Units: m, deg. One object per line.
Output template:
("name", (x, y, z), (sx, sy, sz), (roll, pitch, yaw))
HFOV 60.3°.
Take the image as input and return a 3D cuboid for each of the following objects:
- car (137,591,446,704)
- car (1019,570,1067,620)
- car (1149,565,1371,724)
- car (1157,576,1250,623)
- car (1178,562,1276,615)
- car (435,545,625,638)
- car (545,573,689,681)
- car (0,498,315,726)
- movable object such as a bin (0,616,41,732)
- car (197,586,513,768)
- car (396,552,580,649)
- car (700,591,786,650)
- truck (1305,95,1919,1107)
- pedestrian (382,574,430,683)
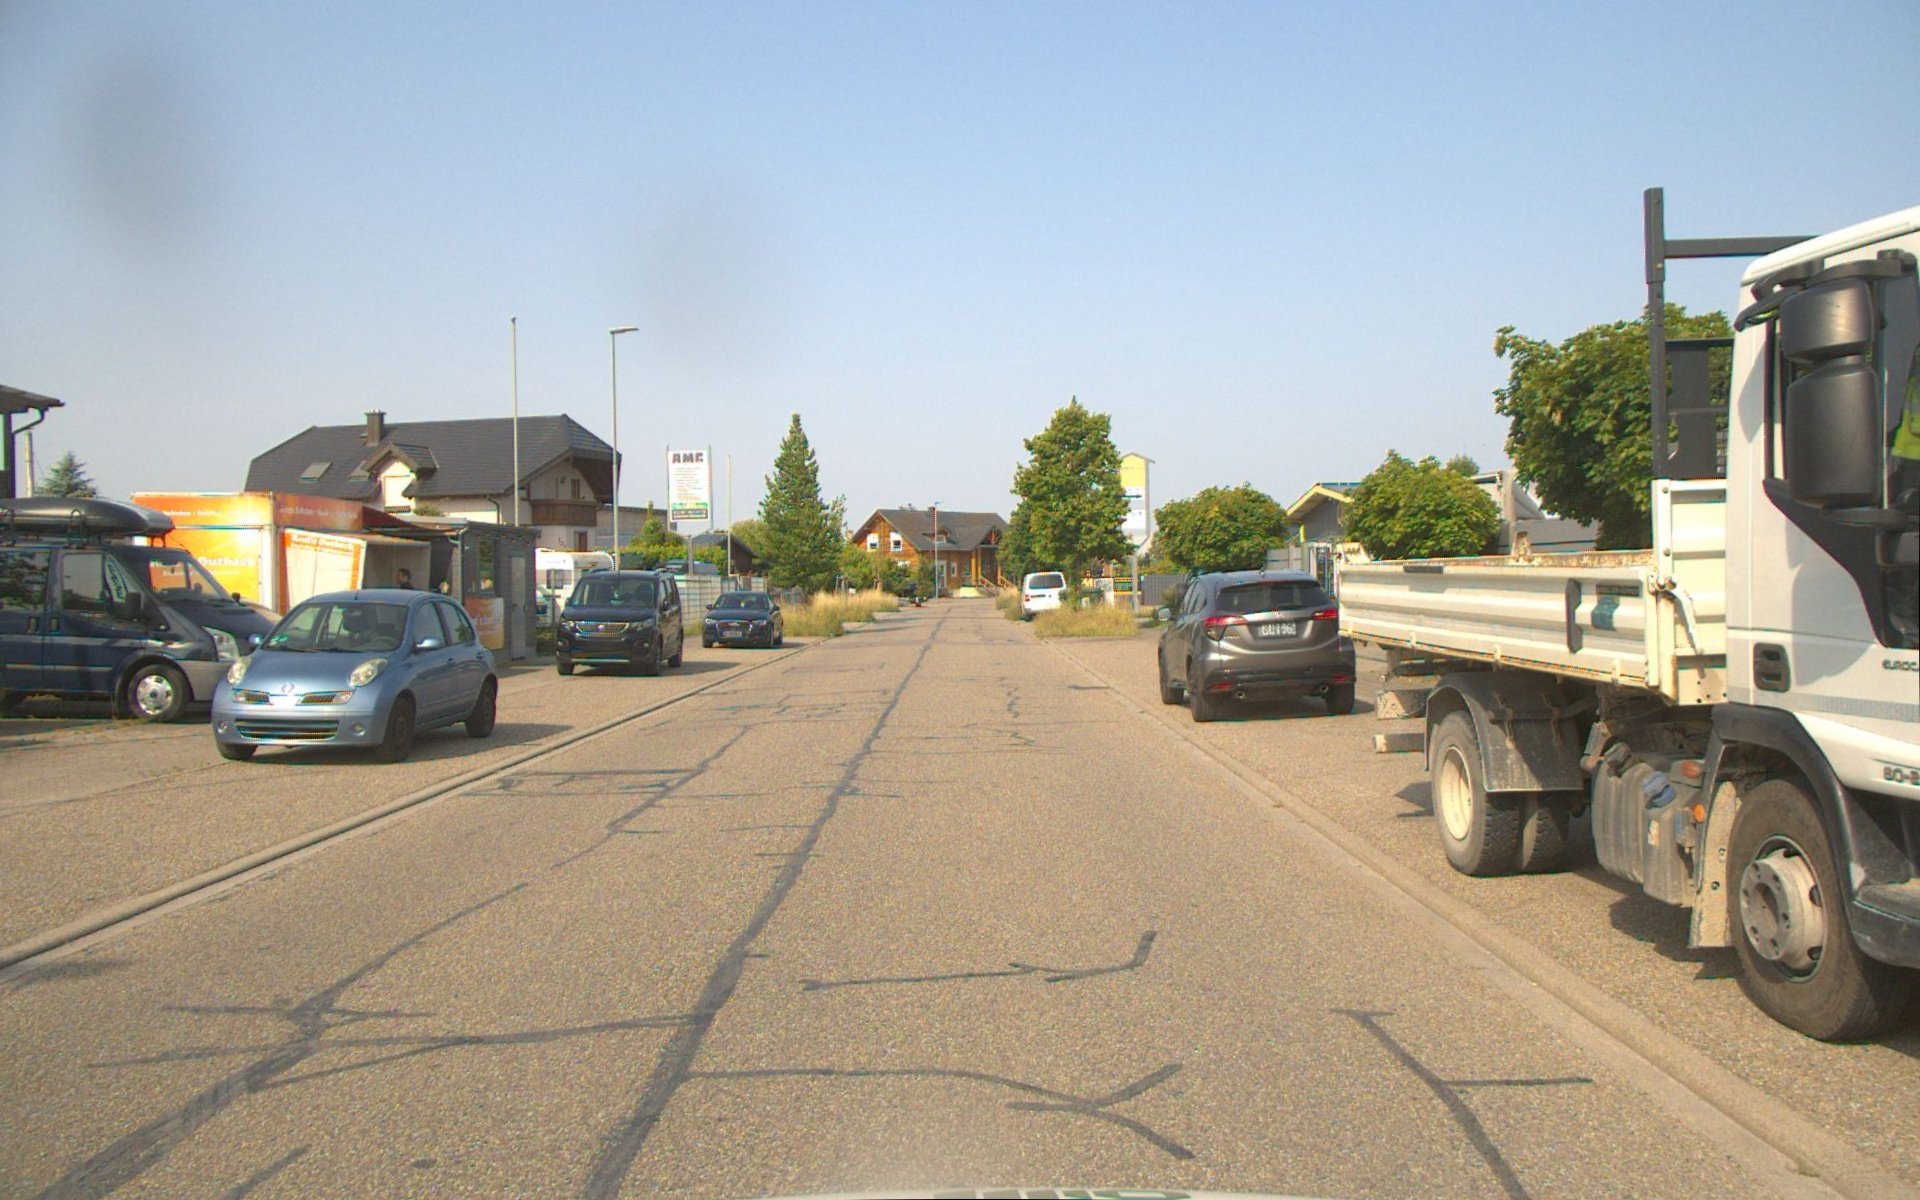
("car", (-9.031, 0.623, 22.575), (3.516, 1.439, 1.761), (0, 0, -4))
("car", (3.451, -0.224, 69.141), (1.800, 1.957, 3.756), (-2, 1, 0))
("car", (3.359, 0.443, 19.231), (1.758, 1.588, 3.999), (-2, 1, -1))
("car", (8.317, -0.013, 56.604), (3.076, 1.548, 1.393), (-1, 0, 8))
("car", (8.777, -0.389, 54.464), (3.076, 1.607, 1.393), (-2, 1, 8))
("car", (-13.245, -0.258, 51.021), (5.050, 2.631, 2.577), (-2, 1, 21))
("car", (-6.146, 0.422, 30.066), (1.763, 1.805, 4.202), (1, 1, -1))
("car", (-10.189, 0.142, 19.238), (4.530, 2.459, 2.001), (-1, 0, 2))
("movable object such as a bin", (-11.477, 0.762, 16.900), (3.252, 1.167, 1.763), (1, 1, 9))
("car", (-5.714, 0.649, 16.080), (1.599, 1.544, 3.607), (0, 1, 3))
("car", (-13.629, 0.014, 47.794), (4.703, 2.631, 2.146), (-2, 1, 21))
("car", (-5.576, 0.496, 42.836), (1.763, 1.411, 3.638), (1, 1, -1))
("truck", (3.574, -0.040, 7.302), (2.312, 2.728, 6.506), (-2, 1, -3))
("pedestrian", (-9.051, 0.455, 27.033), (0.558, 1.745, 0.527), (-2, 1, -38))
